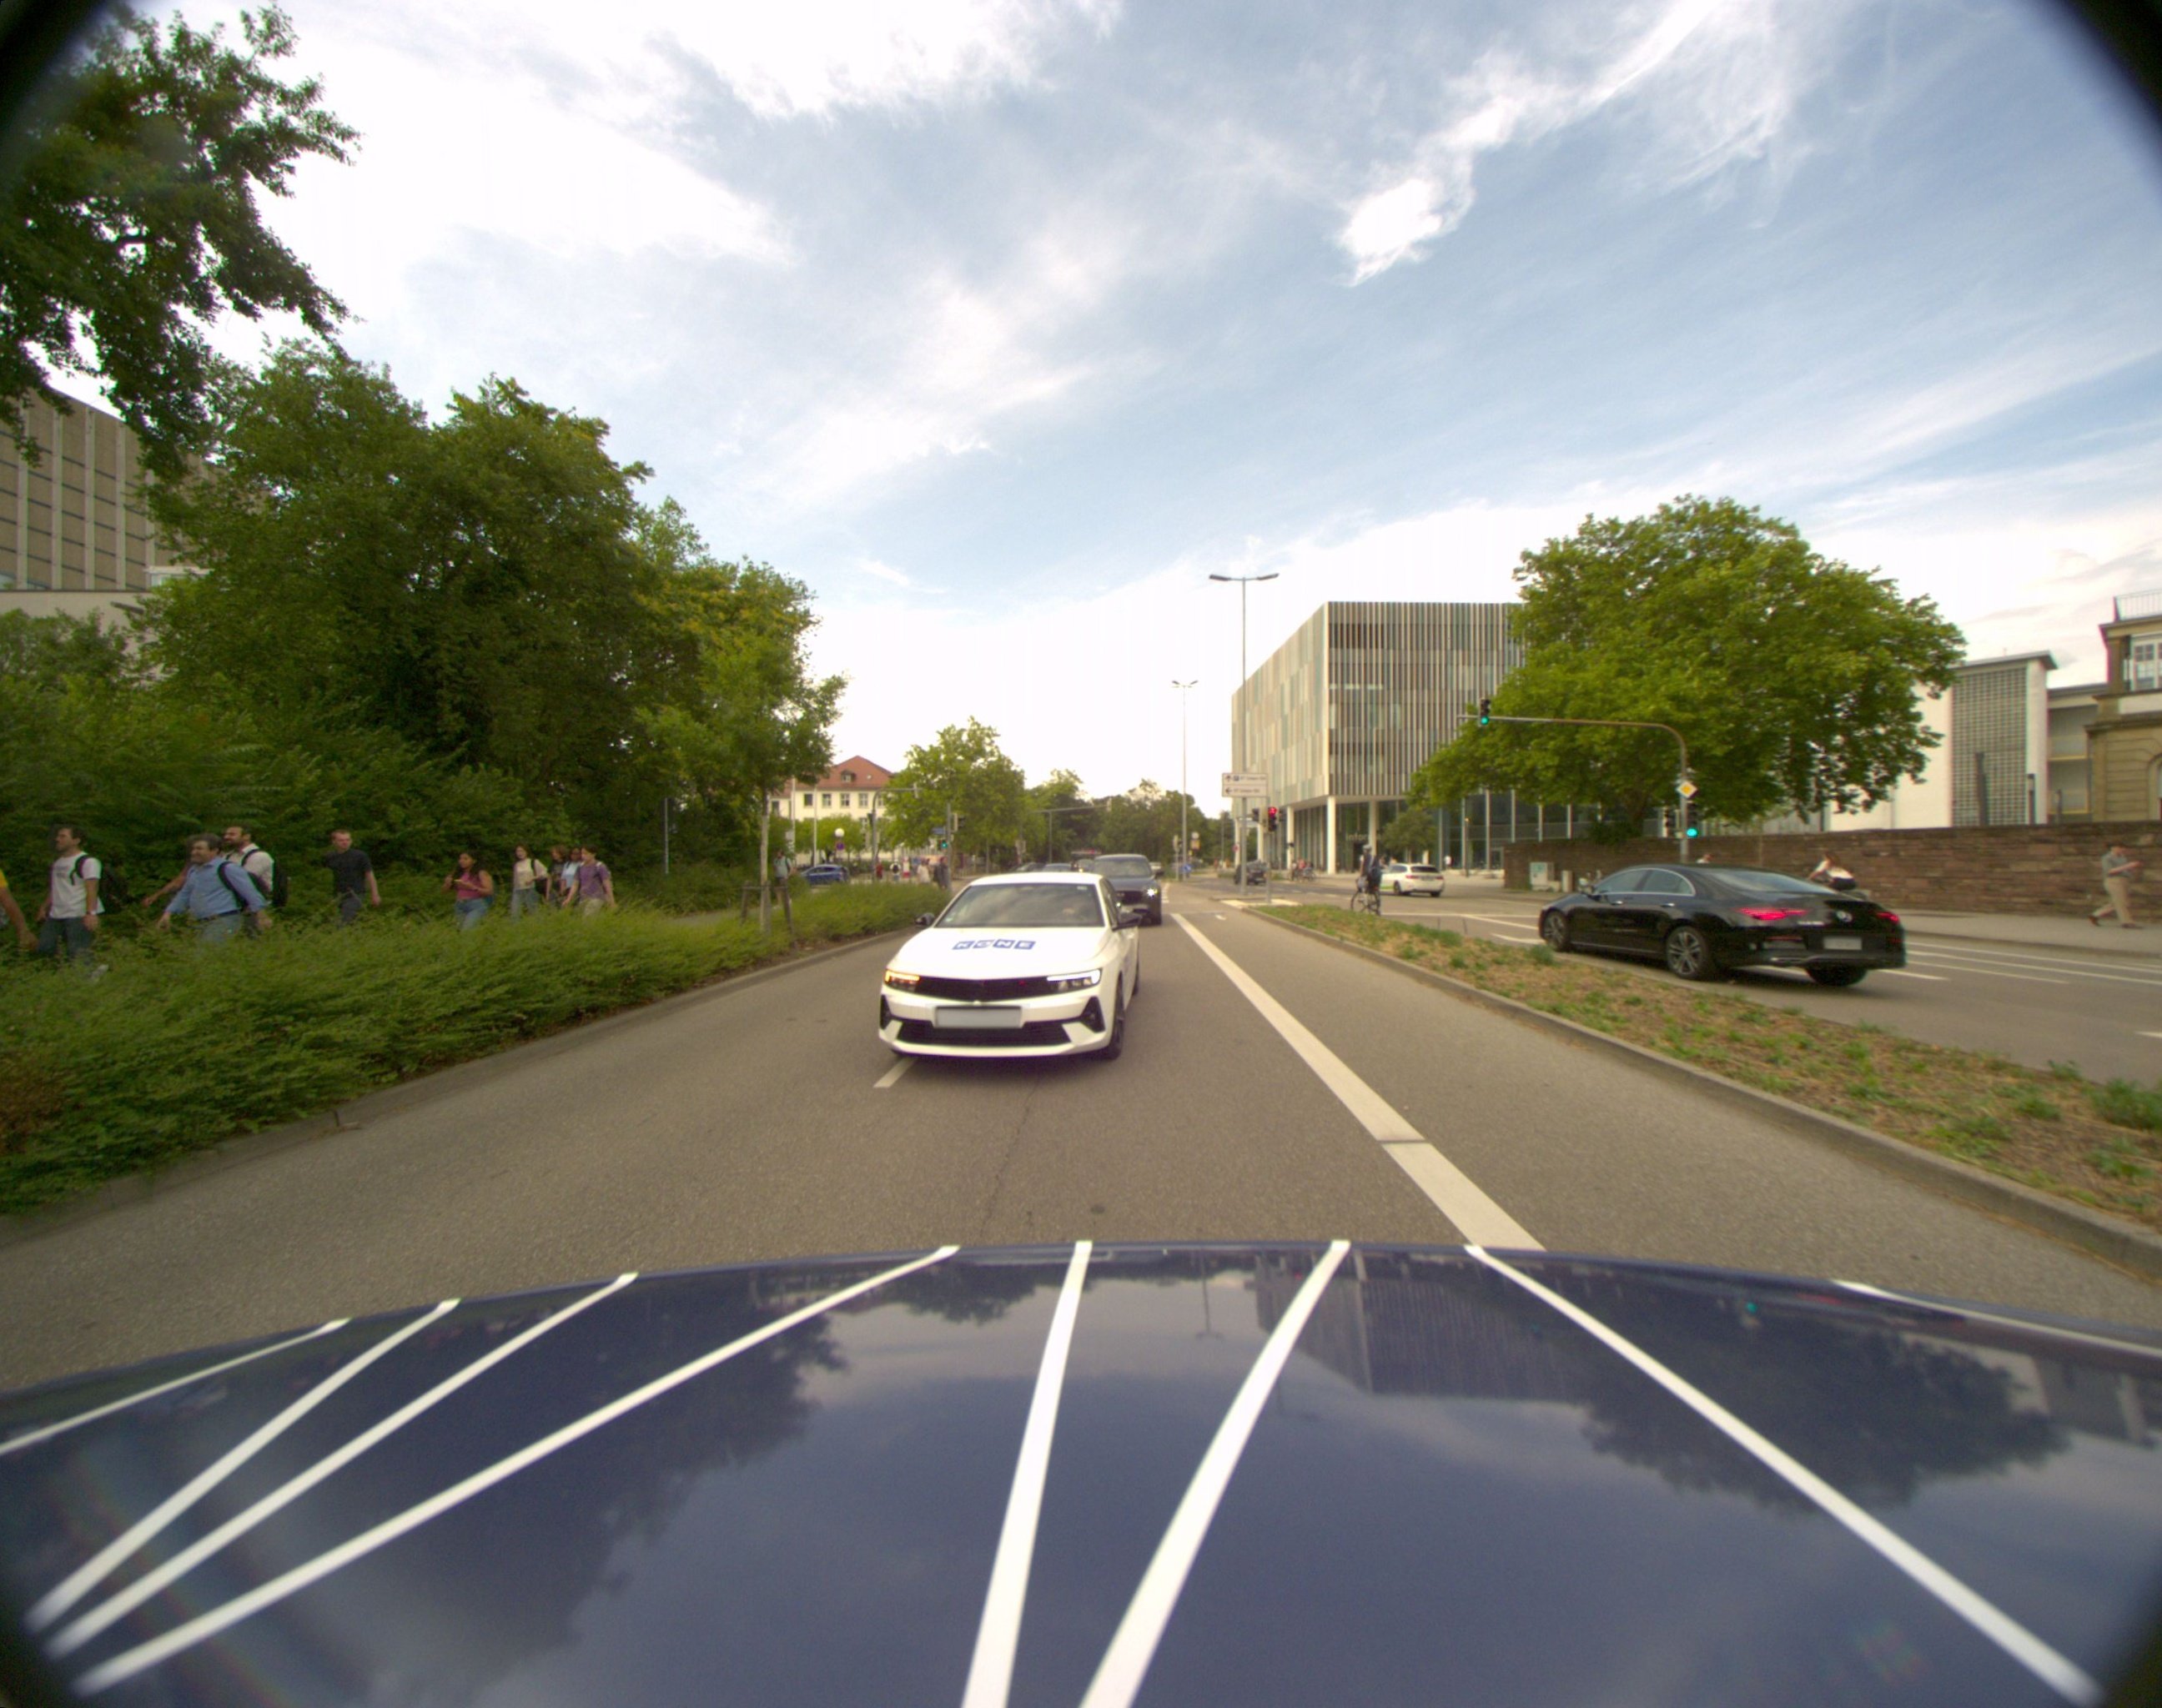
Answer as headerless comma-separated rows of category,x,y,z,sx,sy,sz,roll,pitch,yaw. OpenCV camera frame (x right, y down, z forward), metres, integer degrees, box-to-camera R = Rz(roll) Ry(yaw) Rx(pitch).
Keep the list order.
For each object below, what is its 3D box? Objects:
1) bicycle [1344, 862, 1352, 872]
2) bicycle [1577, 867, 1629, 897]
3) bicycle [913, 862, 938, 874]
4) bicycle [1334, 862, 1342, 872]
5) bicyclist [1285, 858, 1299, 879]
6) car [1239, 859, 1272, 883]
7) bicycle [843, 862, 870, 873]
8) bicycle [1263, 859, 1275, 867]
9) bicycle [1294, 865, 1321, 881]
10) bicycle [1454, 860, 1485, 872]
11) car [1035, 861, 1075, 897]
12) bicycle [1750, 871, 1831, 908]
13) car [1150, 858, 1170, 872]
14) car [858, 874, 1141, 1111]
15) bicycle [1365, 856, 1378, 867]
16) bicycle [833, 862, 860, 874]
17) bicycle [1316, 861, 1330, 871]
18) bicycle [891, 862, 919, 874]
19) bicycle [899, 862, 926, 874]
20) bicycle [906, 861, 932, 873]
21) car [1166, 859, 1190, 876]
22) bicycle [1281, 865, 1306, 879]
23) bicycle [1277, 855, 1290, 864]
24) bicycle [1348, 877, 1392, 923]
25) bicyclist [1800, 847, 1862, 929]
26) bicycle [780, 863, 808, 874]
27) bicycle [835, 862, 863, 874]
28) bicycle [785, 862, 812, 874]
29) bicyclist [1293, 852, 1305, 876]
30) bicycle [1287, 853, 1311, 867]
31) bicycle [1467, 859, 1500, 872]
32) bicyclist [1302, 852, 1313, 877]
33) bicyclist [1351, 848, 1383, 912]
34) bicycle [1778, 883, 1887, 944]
bicycle,27.126,1.309,77.258,0.393,0.932,1.601,-2,0,33
bicycle,21.606,1.133,31.494,0.579,1.119,2.165,-3,0,-2
bicycle,-15.988,1.421,78.142,2.472,1.136,0.718,-1,0,1
bicycle,26.380,1.327,77.924,0.393,0.932,1.601,-2,0,33
bicyclist,16.764,1.131,60.407,0.729,1.663,0.723,-2,1,-14
car,11.594,1.118,50.617,1.575,1.480,3.638,1,0,4
bicycle,-23.018,1.410,77.961,2.472,1.136,0.718,-1,0,1
bicycle,25.506,1.201,103.007,1.582,1.017,0.389,-2,0,-5
bicycle,17.001,1.383,56.932,1.896,1.163,0.606,0,0,-15
bicycle,34.620,1.064,67.695,2.684,0.993,0.672,0,0,-15
car,-1.123,1.091,34.070,1.703,1.485,3.832,0,0,-1
bicycle,22.272,1.097,23.897,0.550,1.052,1.980,-3,0,-4
car,8.726,1.214,84.137,1.806,1.480,4.288,0,0,0
car,-0.364,0.960,7.367,1.743,1.430,4.785,0,0,6
bicycle,28.601,0.755,74.872,1.549,1.023,0.393,-2,0,-37
bicycle,-23.065,1.381,74.697,2.472,1.136,0.718,-1,0,1
bicycle,25.467,1.283,79.914,1.613,0.932,0.393,-2,0,-33
bicycle,-16.895,1.315,72.906,2.472,1.136,0.718,-1,0,1
bicycle,-16.832,1.373,76.001,2.472,1.136,0.718,-1,0,1
bicycle,-16.358,1.299,76.943,2.472,1.136,0.718,-1,0,1
car,9.457,1.264,74.103,1.806,1.503,4.103,0,1,0
bicycle,16.896,1.423,60.441,1.823,0.983,0.728,-2,1,-14
bicycle,25.501,0.660,95.752,1.582,1.017,0.389,-2,0,-5
bicycle,7.220,1.133,19.054,0.574,1.049,1.927,0,0,7
bicyclist,16.676,0.746,16.907,0.619,1.772,0.811,0,0,7
bicycle,-28.239,1.418,74.679,2.472,1.136,0.718,-1,0,1
bicycle,-23.051,1.415,75.530,2.472,1.136,0.718,-1,0,1
bicycle,-28.238,1.414,76.002,2.472,1.136,0.718,-1,0,1
bicyclist,16.777,0.760,58.480,0.602,1.796,0.561,-2,1,-14
bicycle,16.785,0.471,58.461,1.693,0.983,0.571,-2,1,-14
bicycle,34.702,0.997,65.474,2.684,1.083,0.796,0,0,-15
bicyclist,16.981,0.784,56.888,0.602,1.796,0.561,0,0,-15
bicyclist,7.138,0.637,18.981,0.573,1.564,0.699,0,0,7
bicycle,16.668,1.277,16.934,0.619,1.210,2.046,0,0,8
